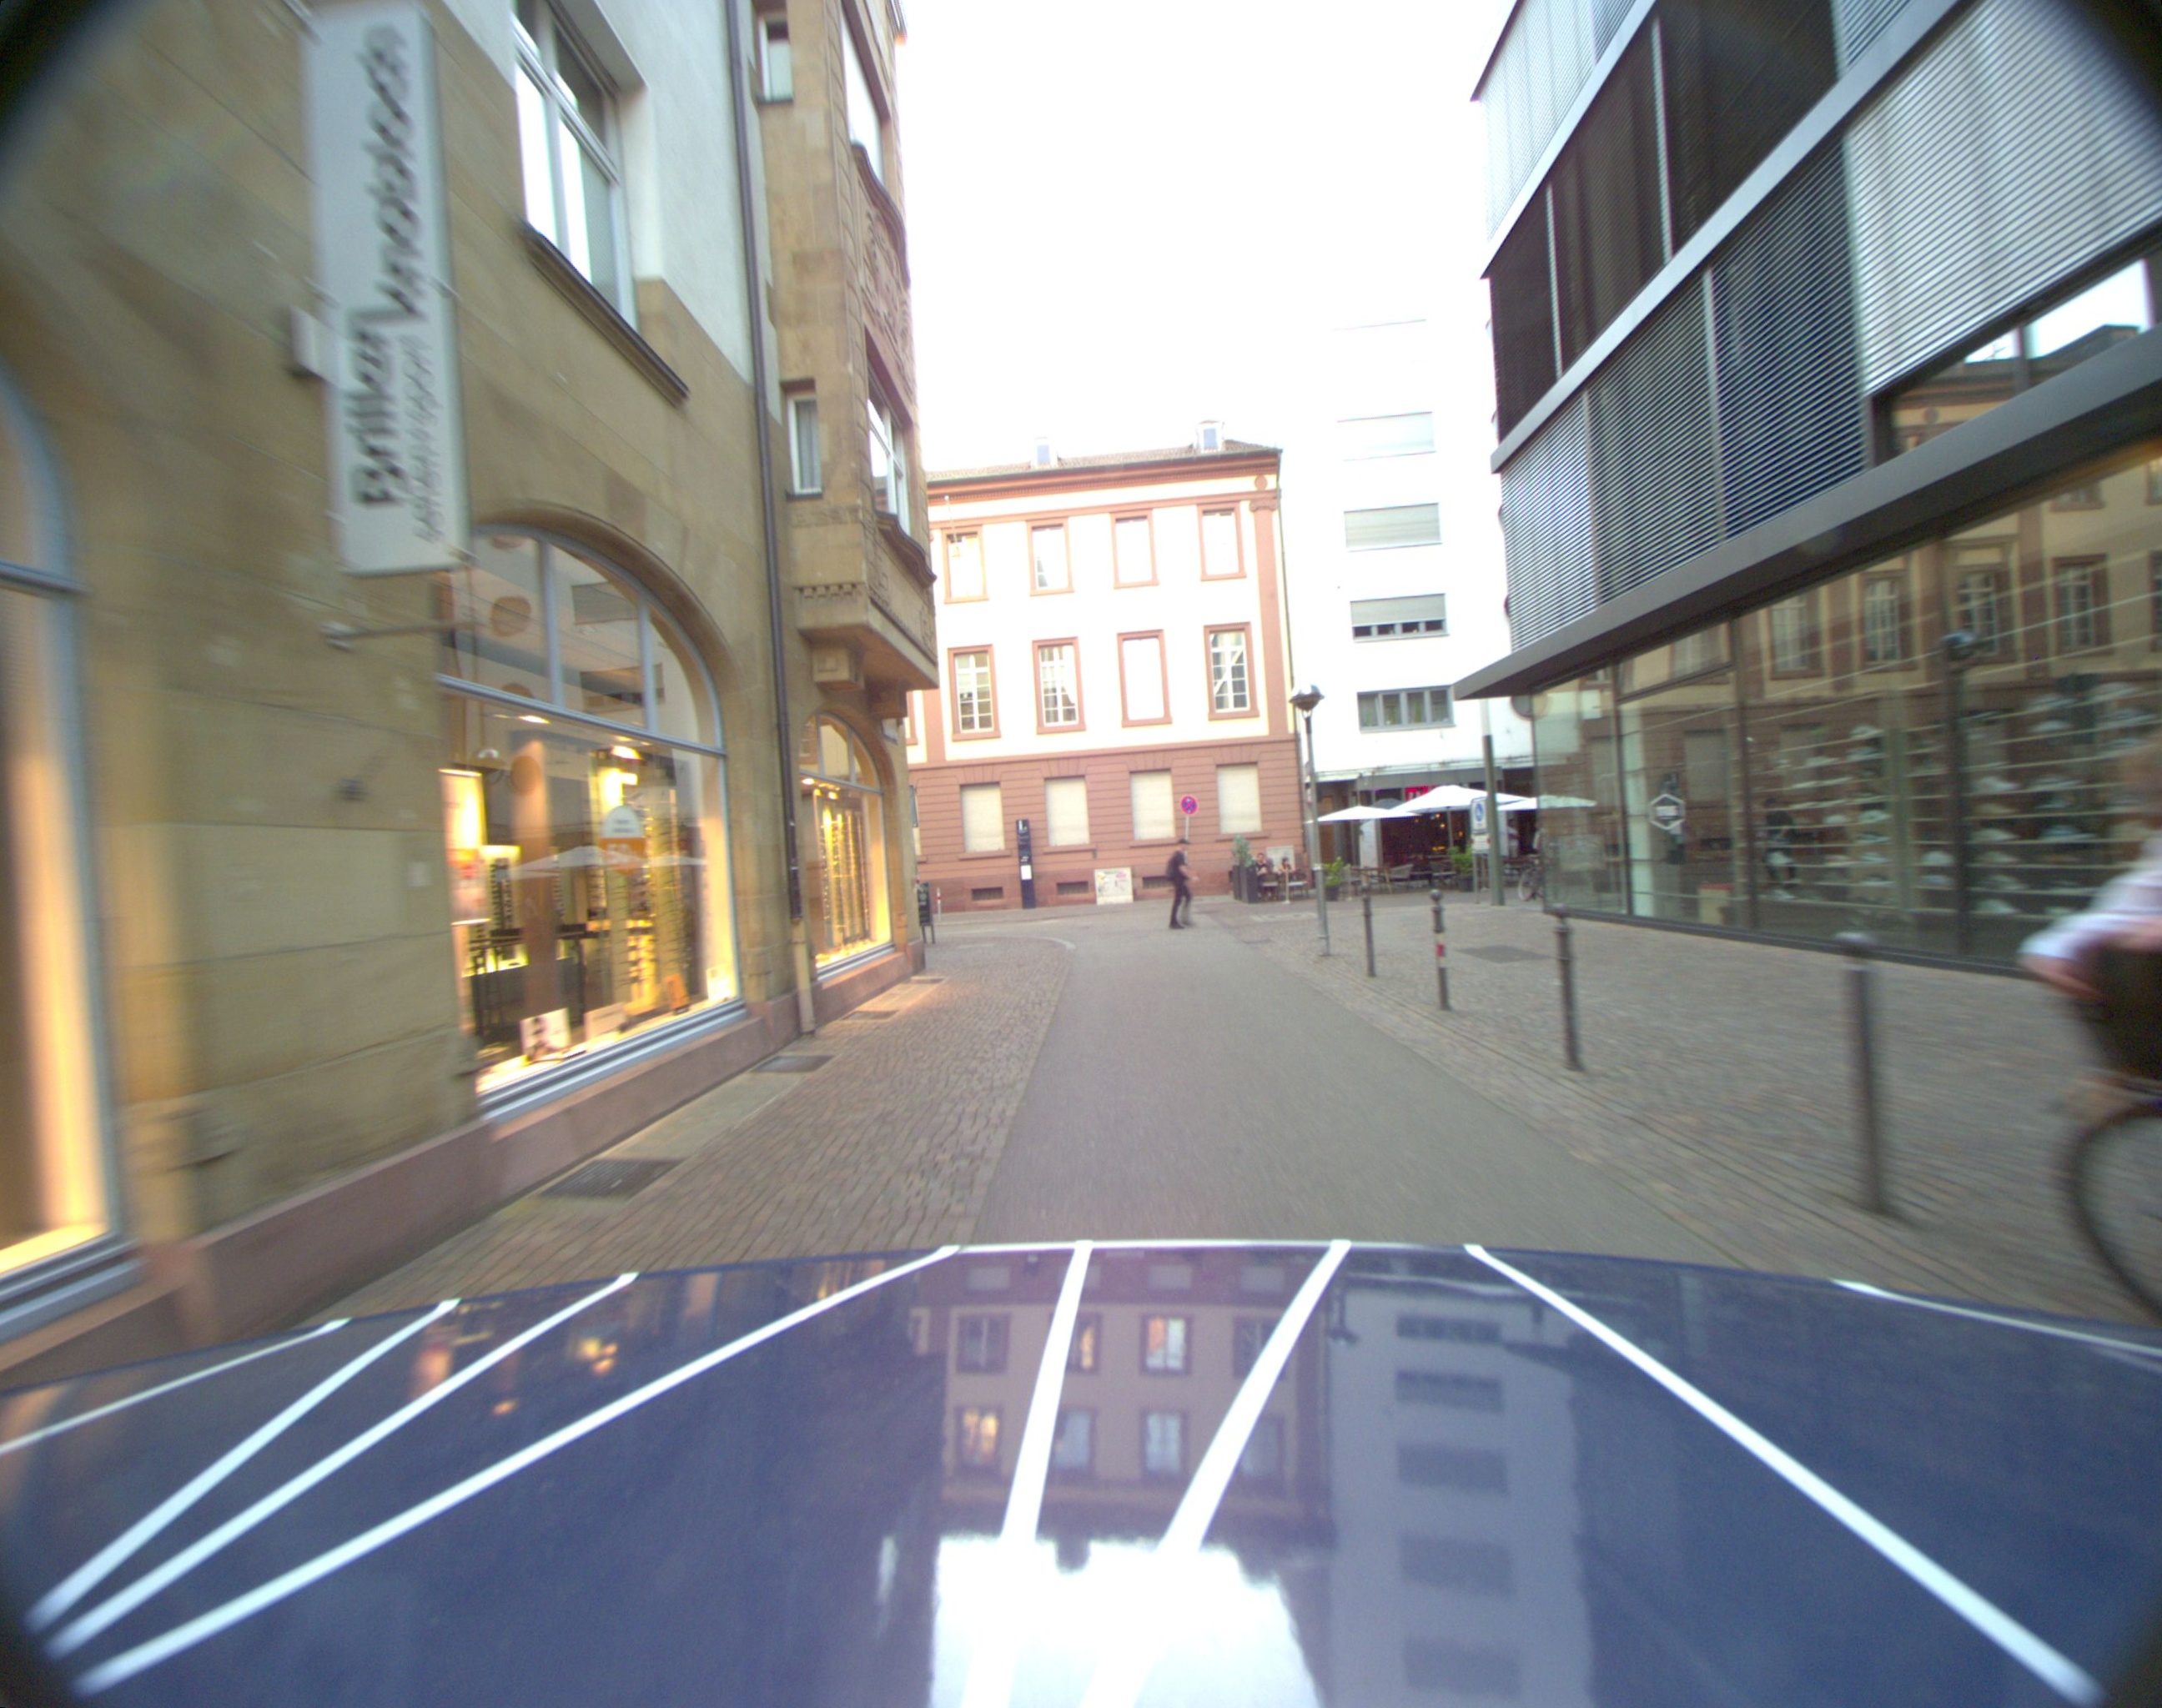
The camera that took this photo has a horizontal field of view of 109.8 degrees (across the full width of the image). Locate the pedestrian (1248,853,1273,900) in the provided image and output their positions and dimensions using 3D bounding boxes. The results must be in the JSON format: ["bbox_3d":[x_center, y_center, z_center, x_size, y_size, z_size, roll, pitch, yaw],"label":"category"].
[{"bbox_3d":[5.211,0.647,22.067,0.548,1.341,0.489,-4,0,5],"label":"pedestrian"}]

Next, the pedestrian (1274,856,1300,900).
[{"bbox_3d":[5.897,0.677,21.745,0.548,1.204,0.524,-4,0,5],"label":"pedestrian"}]

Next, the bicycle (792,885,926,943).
[{"bbox_3d":[-5.737,1.540,19.771,3.155,1.252,0.923,-4,0,0],"label":"bicycle"}]

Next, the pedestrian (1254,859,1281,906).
[{"bbox_3d":[5.047,0.764,20.585,0.561,1.204,0.461,-4,0,5],"label":"pedestrian"}]

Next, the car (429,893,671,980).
[{"bbox_3d":[-11.181,1.720,16.155,3.996,1.434,1.651,-4,0,4],"label":"car"}]

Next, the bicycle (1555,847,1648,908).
[{"bbox_3d":[10.599,0.472,15.562,0.609,1.143,1.842,-4,-1,2],"label":"bicycle"}]

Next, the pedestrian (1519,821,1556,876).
[{"bbox_3d":[14.274,-0.159,23.758,0.671,1.655,0.623,-4,0,-25],"label":"pedestrian"}]

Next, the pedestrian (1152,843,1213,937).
[{"bbox_3d":[2.011,0.699,15.148,0.968,1.774,0.740,-4,0,-4],"label":"pedestrian"}]

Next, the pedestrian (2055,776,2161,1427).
[{"bbox_3d":[2.984,0.643,1.792,0.590,1.708,0.771,-5,1,38],"label":"pedestrian"}]

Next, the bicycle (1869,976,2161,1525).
[{"bbox_3d":[2.718,0.975,1.399,0.534,1.147,1.915,-6,0,3],"label":"bicycle"}]

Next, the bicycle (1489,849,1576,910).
[{"bbox_3d":[9.014,0.505,15.248,0.709,1.106,1.674,-4,-1,2],"label":"bicycle"}]
